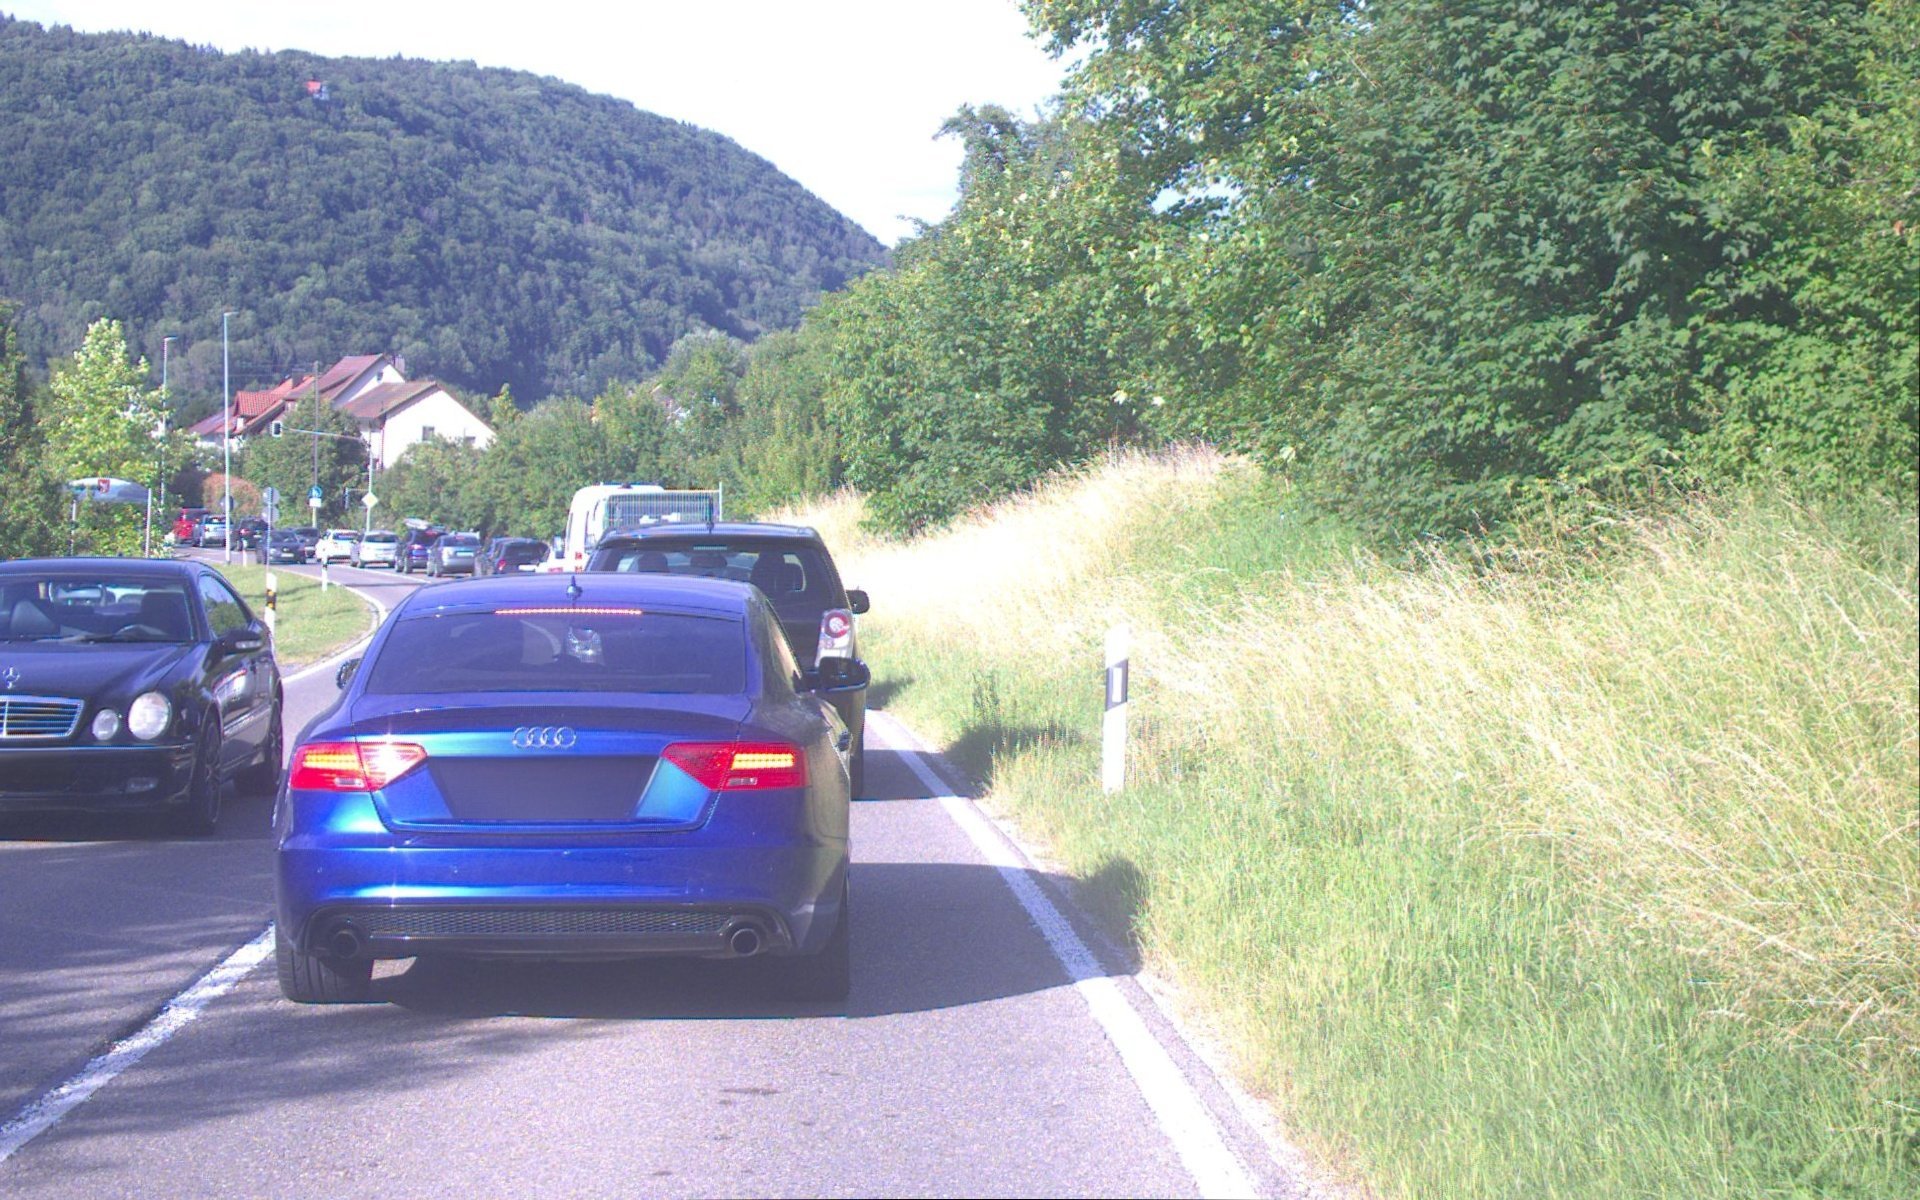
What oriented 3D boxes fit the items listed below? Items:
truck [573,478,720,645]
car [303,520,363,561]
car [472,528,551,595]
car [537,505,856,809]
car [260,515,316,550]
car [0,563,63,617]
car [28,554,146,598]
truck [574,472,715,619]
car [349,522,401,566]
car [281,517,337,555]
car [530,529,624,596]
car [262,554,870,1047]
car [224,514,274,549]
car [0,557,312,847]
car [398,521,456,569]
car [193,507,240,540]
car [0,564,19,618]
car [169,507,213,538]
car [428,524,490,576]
[{"bbox_3d":[-5.052,-0.625,56.044,2.229,2.561,6.104,1,1,-4],"label":"truck"},{"bbox_3d":[-27.115,-2.568,148.535,1.845,1.706,4.001,0,1,-21],"label":"car"},{"bbox_3d":[-11.680,-1.001,89.356,1.845,1.706,4.001,1,1,-10],"label":"car"},{"bbox_3d":[-1.540,0.297,21.056,1.754,1.675,3.847,1,1,-2],"label":"car"},{"bbox_3d":[-28.170,-2.821,144.056,1.703,1.425,4.052,0,1,-19],"label":"car"},{"bbox_3d":[-31.355,-0.339,111.727,3.986,1.705,2.000,1,0,-5],"label":"car"},{"bbox_3d":[-32.001,-0.894,126.099,3.986,1.573,1.753,1,0,-5],"label":"car"},{"bbox_3d":[-5.918,-0.997,63.766,2.229,2.561,6.709,1,1,-8],"label":"truck"},{"bbox_3d":[-23.069,-2.192,135.478,1.845,1.706,4.001,1,1,-12],"label":"car"},{"bbox_3d":[-29.939,-2.926,158.053,1.845,1.706,4.001,0,1,-21],"label":"car"},{"bbox_3d":[-8.762,-0.858,78.432,1.845,1.477,4.001,1,1,-10],"label":"car"},{"bbox_3d":[-1.219,0.566,11.949,1.754,1.425,3.847,1,1,-2],"label":"car"},{"bbox_3d":[-36.223,-3.476,175.135,1.845,1.706,4.001,0,1,-21],"label":"car"},{"bbox_3d":[-4.537,0.454,18.214,1.594,1.349,4.204,1,1,-3],"label":"car"},{"bbox_3d":[-19.454,-1.998,125.318,1.845,1.706,4.001,1,1,-12],"label":"car"},{"bbox_3d":[-40.071,-4.095,185.273,1.845,1.706,4.001,0,1,-21],"label":"car"},{"bbox_3d":[-32.071,-0.319,109.064,3.986,1.705,2.000,1,0,-5],"label":"car"},{"bbox_3d":[-43.452,-4.359,194.178,1.845,1.706,4.001,0,1,-21],"label":"car"},{"bbox_3d":[-17.184,-1.710,117.851,1.845,1.706,4.001,1,1,-12],"label":"car"}]
